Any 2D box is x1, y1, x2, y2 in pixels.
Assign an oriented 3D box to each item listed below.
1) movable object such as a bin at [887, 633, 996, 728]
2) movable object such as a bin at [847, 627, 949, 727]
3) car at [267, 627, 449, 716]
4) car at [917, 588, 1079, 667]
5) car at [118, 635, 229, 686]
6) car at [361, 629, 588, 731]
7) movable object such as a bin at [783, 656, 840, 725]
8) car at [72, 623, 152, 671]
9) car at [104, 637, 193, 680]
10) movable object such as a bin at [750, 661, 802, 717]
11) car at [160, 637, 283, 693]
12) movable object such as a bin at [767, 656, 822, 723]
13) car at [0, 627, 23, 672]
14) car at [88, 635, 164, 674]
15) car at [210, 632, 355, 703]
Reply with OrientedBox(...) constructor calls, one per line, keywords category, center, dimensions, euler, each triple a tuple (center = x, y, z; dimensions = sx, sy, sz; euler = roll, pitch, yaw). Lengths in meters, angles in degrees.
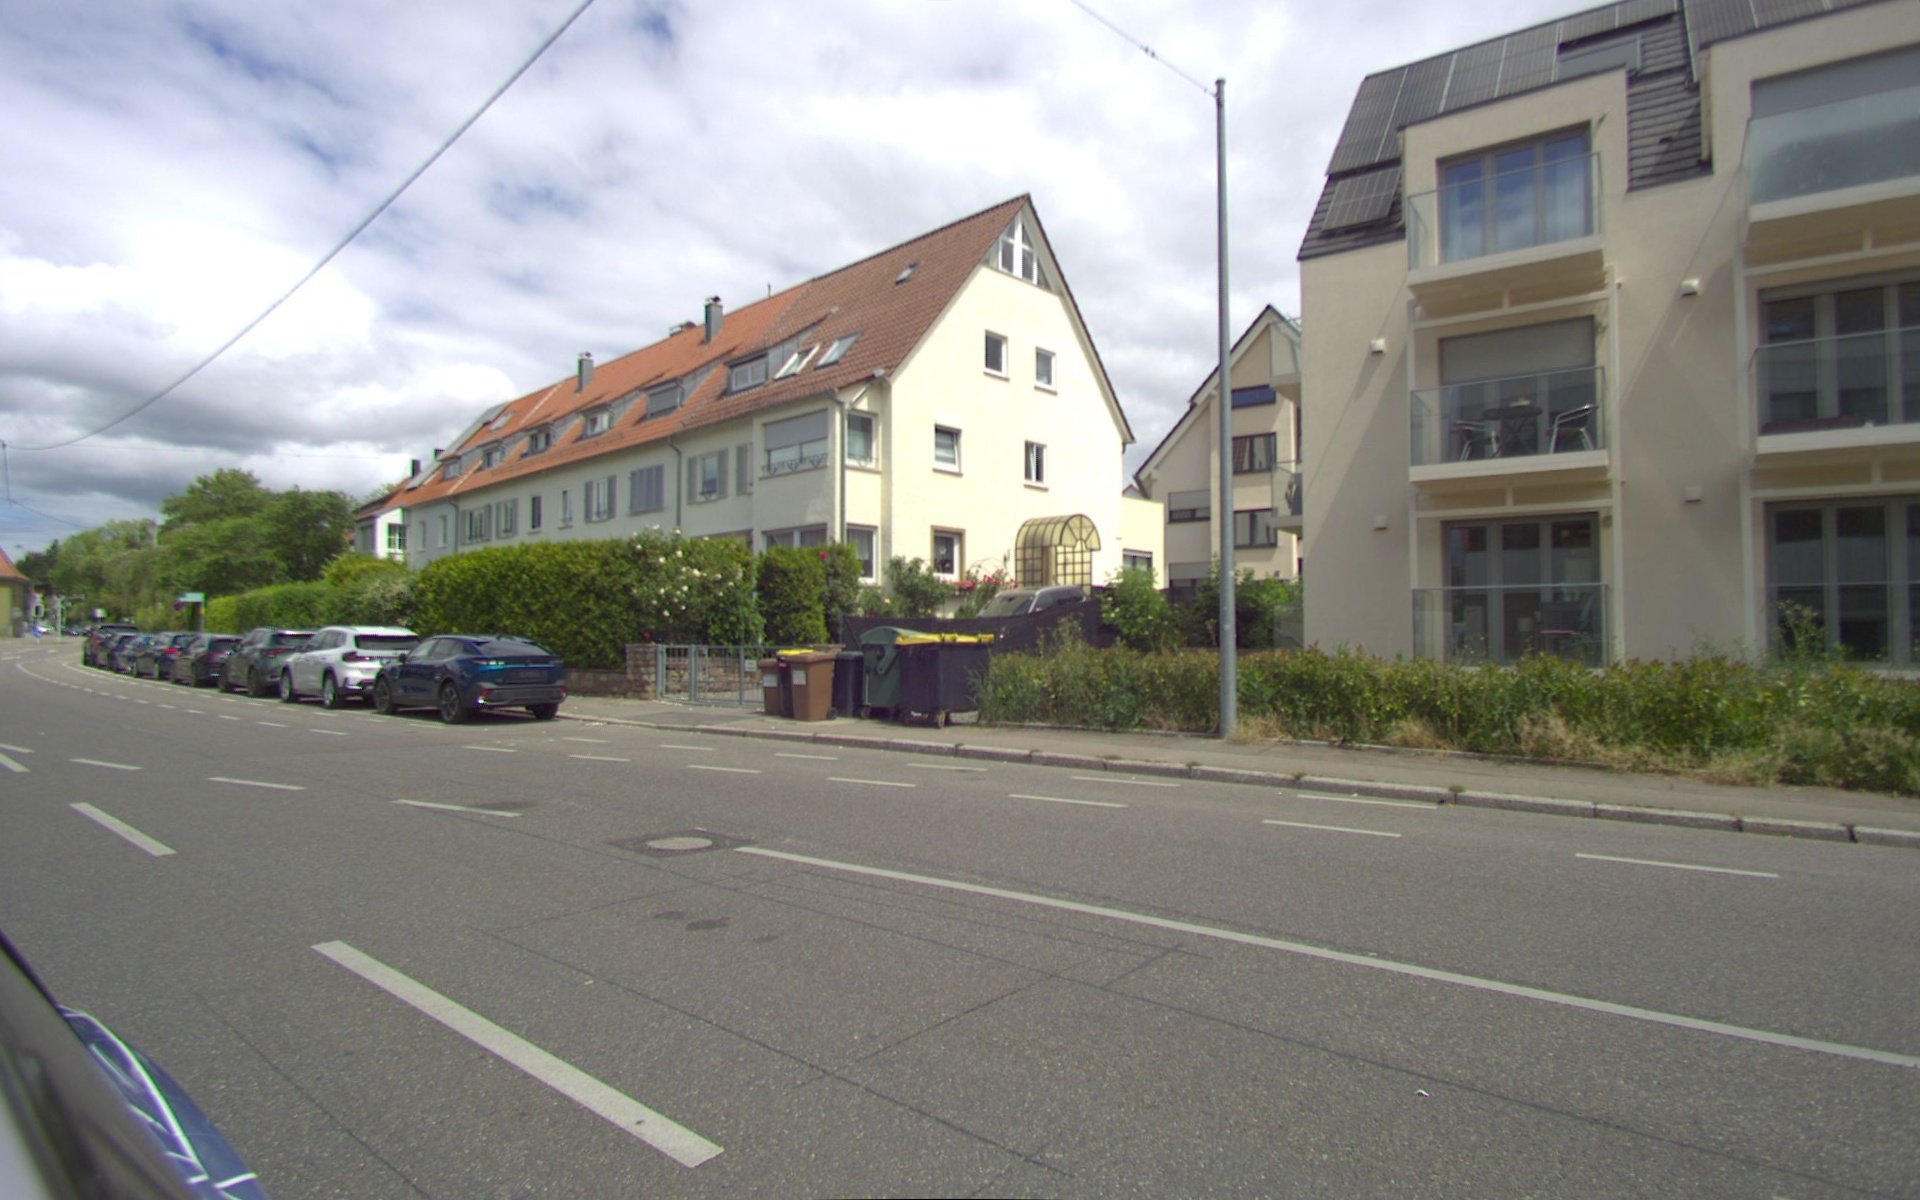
OrientedBox(category="movable object such as a bin", center=(-0.269, 1.148, 14.879), dimensions=(1.214, 1.323, 1.053), euler=(-2, -3, 43))
OrientedBox(category="movable object such as a bin", center=(-0.975, 1.178, 15.968), dimensions=(1.213, 1.493, 1.054), euler=(-2, -3, 39))
OrientedBox(category="car", center=(-12.710, 1.420, 21.265), dimensions=(4.515, 1.663, 1.972), euler=(-2, -3, 41))
OrientedBox(category="car", center=(0.972, 0.622, 23.974), dimensions=(1.802, 1.719, 3.946), euler=(-2, -1, 40))
OrientedBox(category="car", center=(-25.000, 1.870, 32.113), dimensions=(4.561, 1.503, 1.760), euler=(-1, -3, 39))
OrientedBox(category="car", center=(-8.773, 1.333, 18.147), dimensions=(4.485, 1.599, 1.973), euler=(-1, -3, 40))
OrientedBox(category="movable object such as a bin", center=(-2.308, 1.389, 15.734), dimensions=(0.658, 1.015, 0.589), euler=(-2, -3, 41))
OrientedBox(category="car", center=(-36.340, 1.990, 43.313), dimensions=(5.405, 1.909, 1.971), euler=(-2, -5, 44))
OrientedBox(category="car", center=(-28.774, 2.022, 35.842), dimensions=(4.439, 1.428, 1.759), euler=(-2, -3, 42))
OrientedBox(category="movable object such as a bin", center=(-3.066, 1.476, 16.880), dimensions=(0.614, 0.886, 0.589), euler=(-2, -3, 41))
OrientedBox(category="car", center=(-20.880, 1.763, 28.550), dimensions=(4.690, 1.419, 1.971), euler=(-2, -3, 43))
OrientedBox(category="movable object such as a bin", center=(-2.672, 1.434, 16.335), dimensions=(0.658, 1.032, 0.589), euler=(-2, -3, 41))
OrientedBox(category="car", center=(-40.150, 2.025, 41.698), dimensions=(1.903, 1.795, 4.008), euler=(0, -1, -38))
OrientedBox(category="car", center=(-32.595, 2.096, 39.522), dimensions=(4.340, 1.428, 1.758), euler=(-2, -3, 44))
OrientedBox(category="car", center=(-16.727, 1.588, 24.888), dimensions=(4.690, 1.576, 1.971), euler=(-2, -3, 43))
